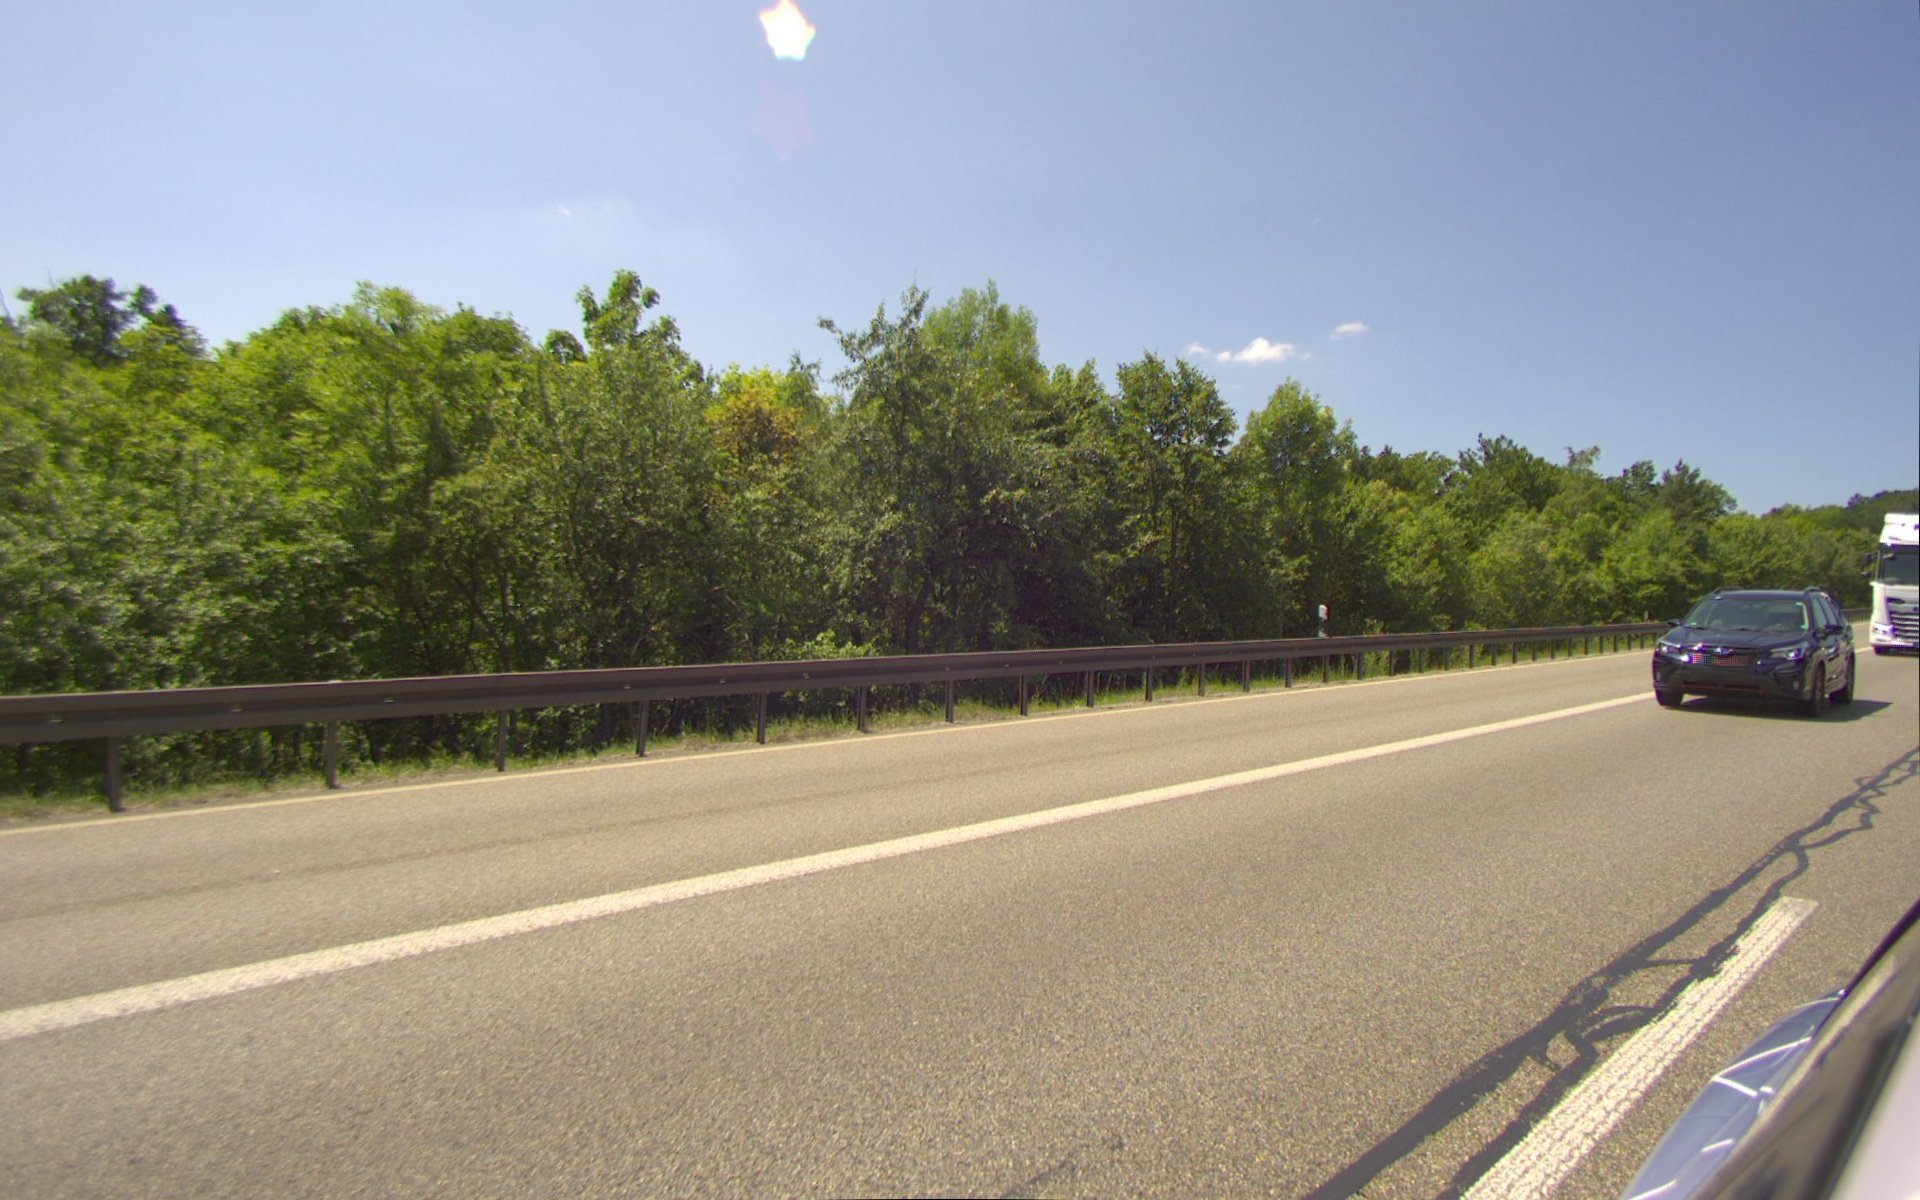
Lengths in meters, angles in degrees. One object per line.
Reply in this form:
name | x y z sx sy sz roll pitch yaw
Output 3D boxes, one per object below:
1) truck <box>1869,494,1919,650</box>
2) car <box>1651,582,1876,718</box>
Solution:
truck | 32.327 -0.757 32.436 15.982 4.221 2.788 0 0 -41
car | 11.687 0.604 14.623 4.130 1.688 1.815 0 0 -41
